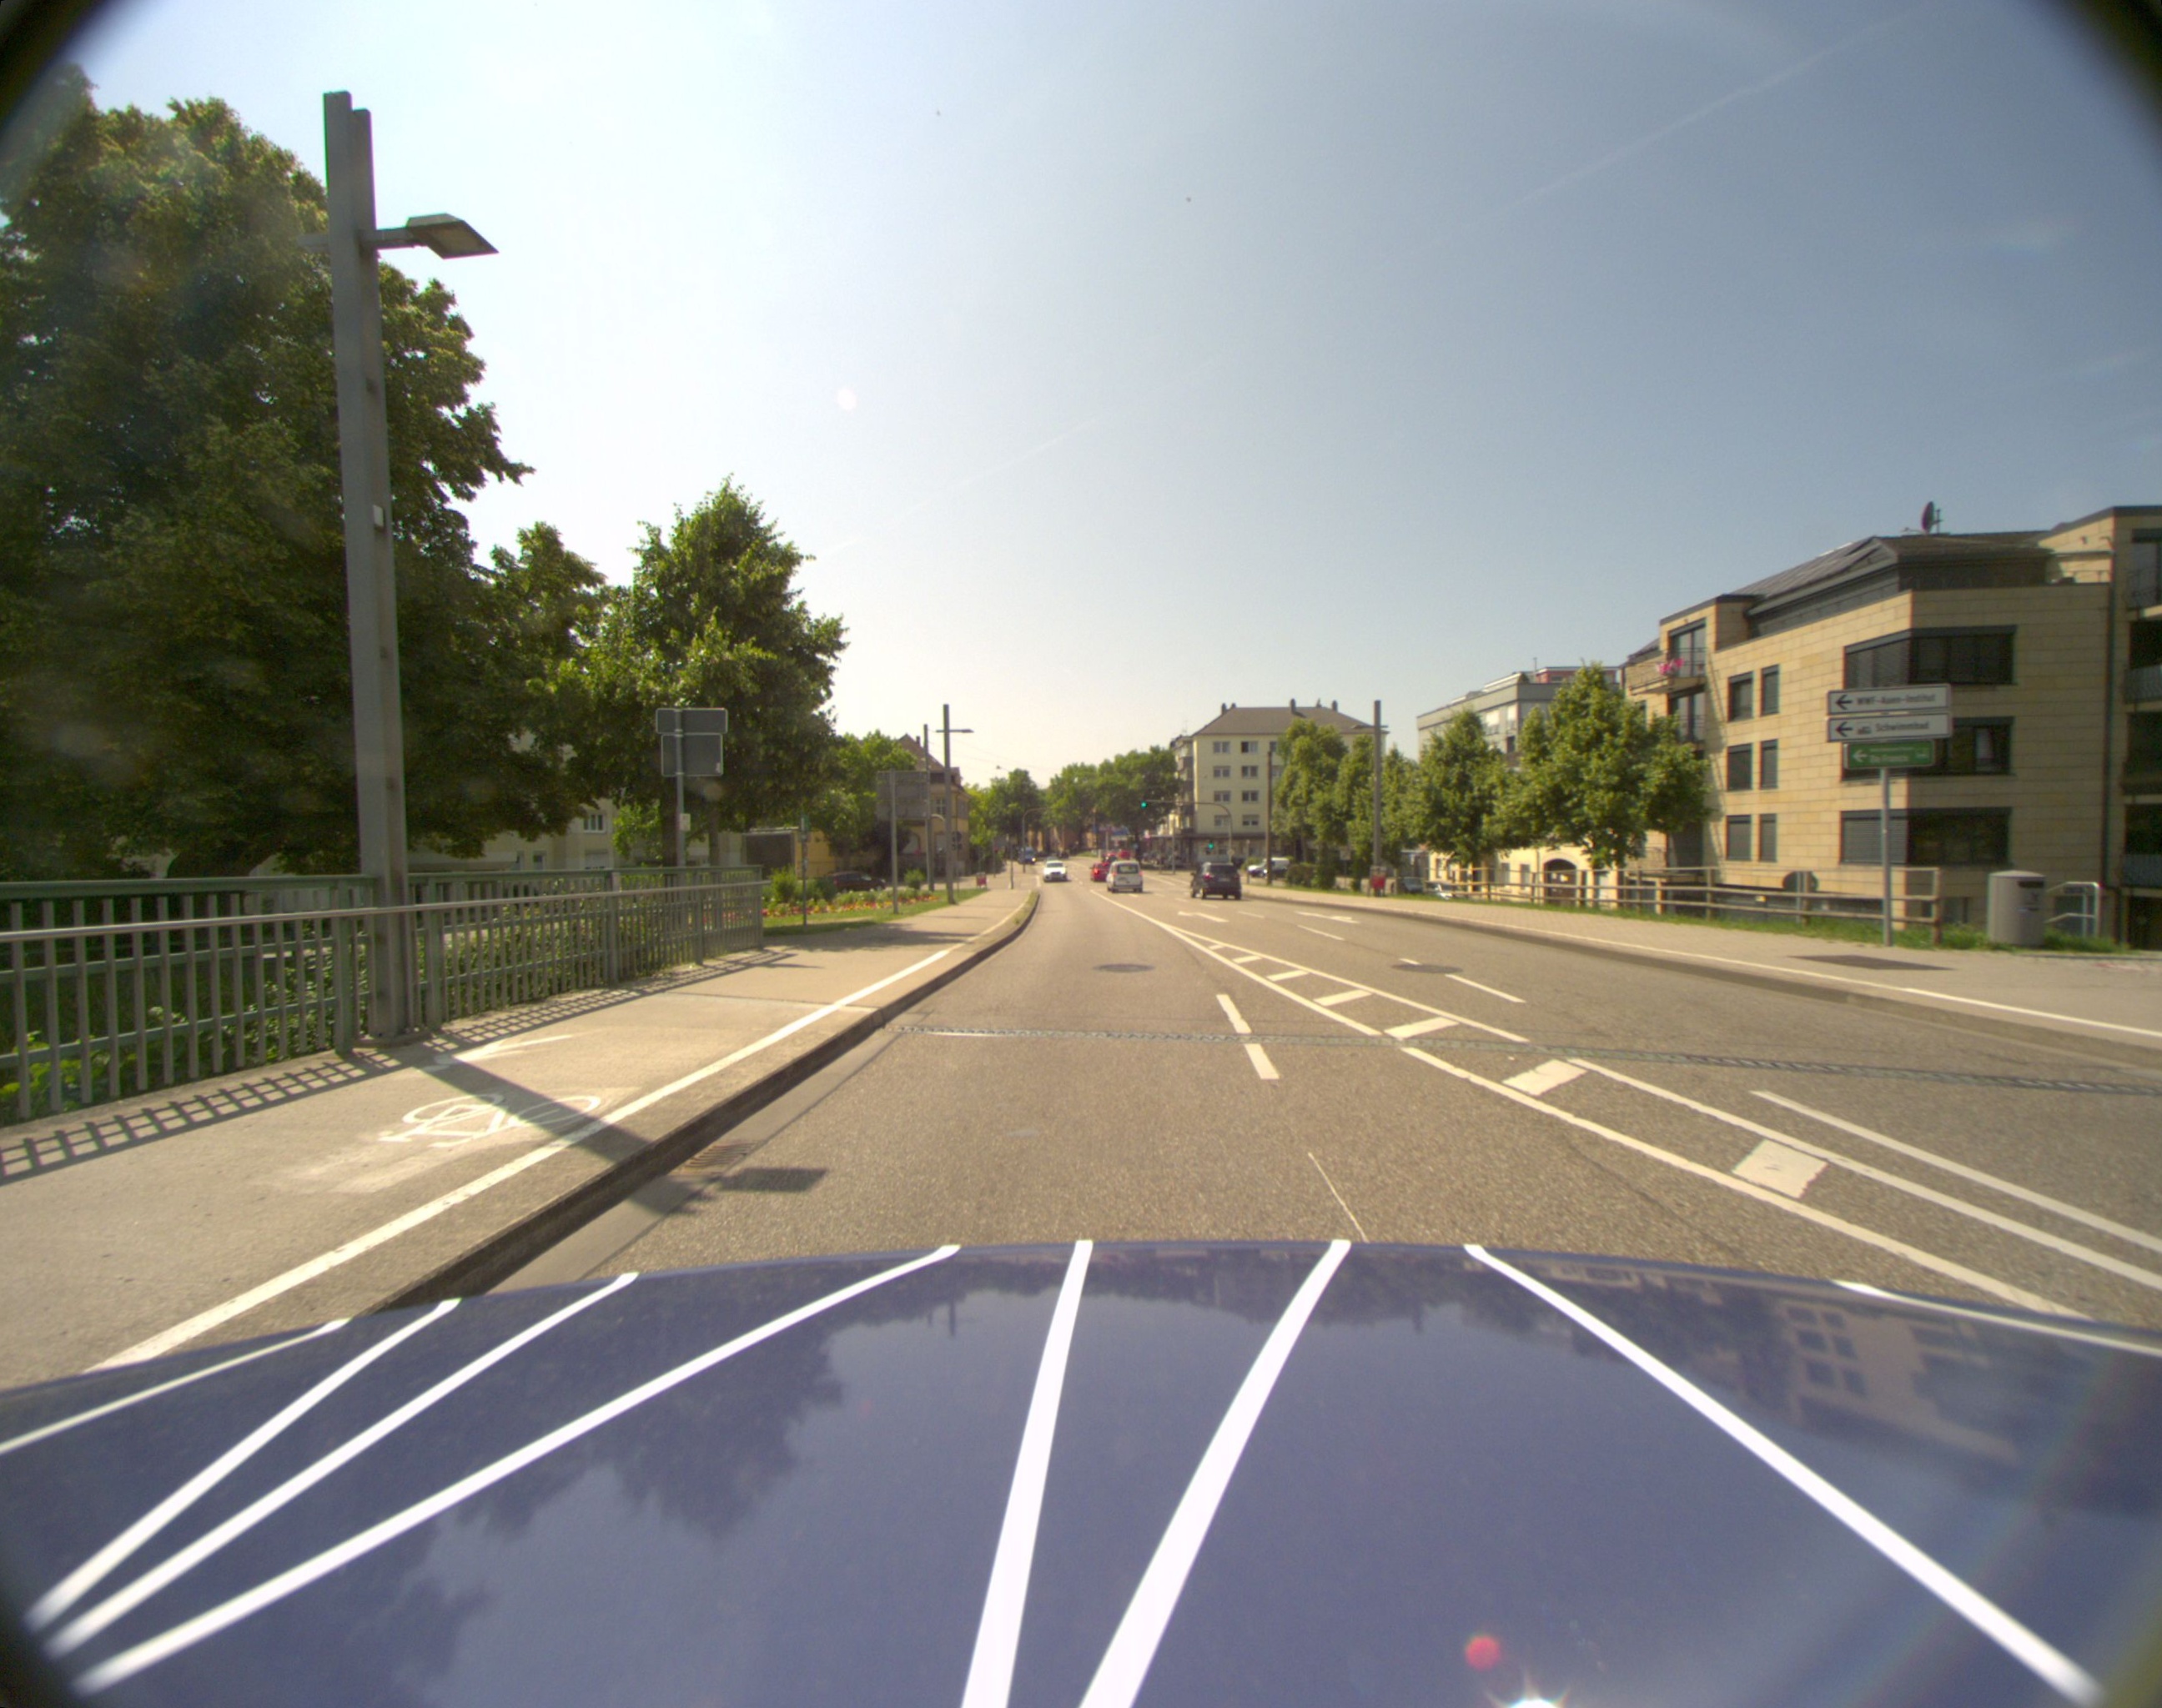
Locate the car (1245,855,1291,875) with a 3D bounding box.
[{"bbox_3d":[17.131,0.994,69.681,3.696,1.725,1.892,1,2,-5],"label":"car"}]

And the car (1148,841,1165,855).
[{"bbox_3d":[10.321,-0.846,104.298,1.643,1.829,3.857,-2,2,-4],"label":"car"}]

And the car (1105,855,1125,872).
[{"bbox_3d":[3.718,1.017,83.276,1.719,1.477,4.028,-4,3,-3],"label":"car"}]

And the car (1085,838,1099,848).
[{"bbox_3d":[2.090,-2.080,146.144,1.914,1.795,4.328,-1,2,-12],"label":"car"}]

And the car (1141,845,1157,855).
[{"bbox_3d":[9.855,-0.646,109.797,1.704,1.280,3.858,-2,2,-4],"label":"car"}]

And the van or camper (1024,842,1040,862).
[{"bbox_3d":[-7.191,-0.282,110.369,2.165,2.568,5.841,-2,3,-4],"label":"van or camper"}]

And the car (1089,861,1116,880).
[{"bbox_3d":[1.684,1.333,59.908,1.652,1.455,3.860,0,-2,-6],"label":"car"}]

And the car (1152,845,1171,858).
[{"bbox_3d":[10.438,-0.327,98.427,1.626,1.560,4.836,-1,2,-4],"label":"car"}]

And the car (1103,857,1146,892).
[{"bbox_3d":[2.475,1.164,44.216,1.842,1.849,4.661,-2,0,-4],"label":"car"}]

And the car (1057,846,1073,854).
[{"bbox_3d":[-2.912,-0.731,136.529,1.843,1.391,4.044,-1,0,-16],"label":"car"}]

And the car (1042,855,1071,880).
[{"bbox_3d":[-2.028,1.082,62.357,1.999,1.740,4.442,-3,2,-5],"label":"car"}]

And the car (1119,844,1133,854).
[{"bbox_3d":[6.876,-0.812,116.143,1.639,1.460,3.632,-1,2,-3],"label":"car"}]

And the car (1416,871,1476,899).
[{"bbox_3d":[22.350,1.849,46.752,1.780,1.424,4.430,-2,1,4],"label":"car"}]

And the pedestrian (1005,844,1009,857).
[{"bbox_3d":[-10.907,-0.496,111.863,0.621,1.908,0.743,-1,2,-4],"label":"pedestrian"}]

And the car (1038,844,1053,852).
[{"bbox_3d":[-7.137,-1.229,151.457,1.763,1.551,4.309,1,1,-19],"label":"car"}]

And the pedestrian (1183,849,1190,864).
[{"bbox_3d":[12.747,0.310,91.638,0.629,1.750,0.742,-1,2,-4],"label":"pedestrian"}]

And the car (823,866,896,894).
[{"bbox_3d":[-16.365,1.879,56.397,1.912,1.623,4.827,1,4,45],"label":"car"}]

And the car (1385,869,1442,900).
[{"bbox_3d":[22.687,2.034,52.103,1.819,1.619,5.285,1,2,4],"label":"car"}]

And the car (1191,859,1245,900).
[{"bbox_3d":[6.171,1.116,34.688,1.741,1.631,3.920,2,1,0],"label":"car"}]

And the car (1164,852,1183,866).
[{"bbox_3d":[10.989,0.606,90.528,1.587,1.450,3.937,-1,2,-4],"label":"car"}]
